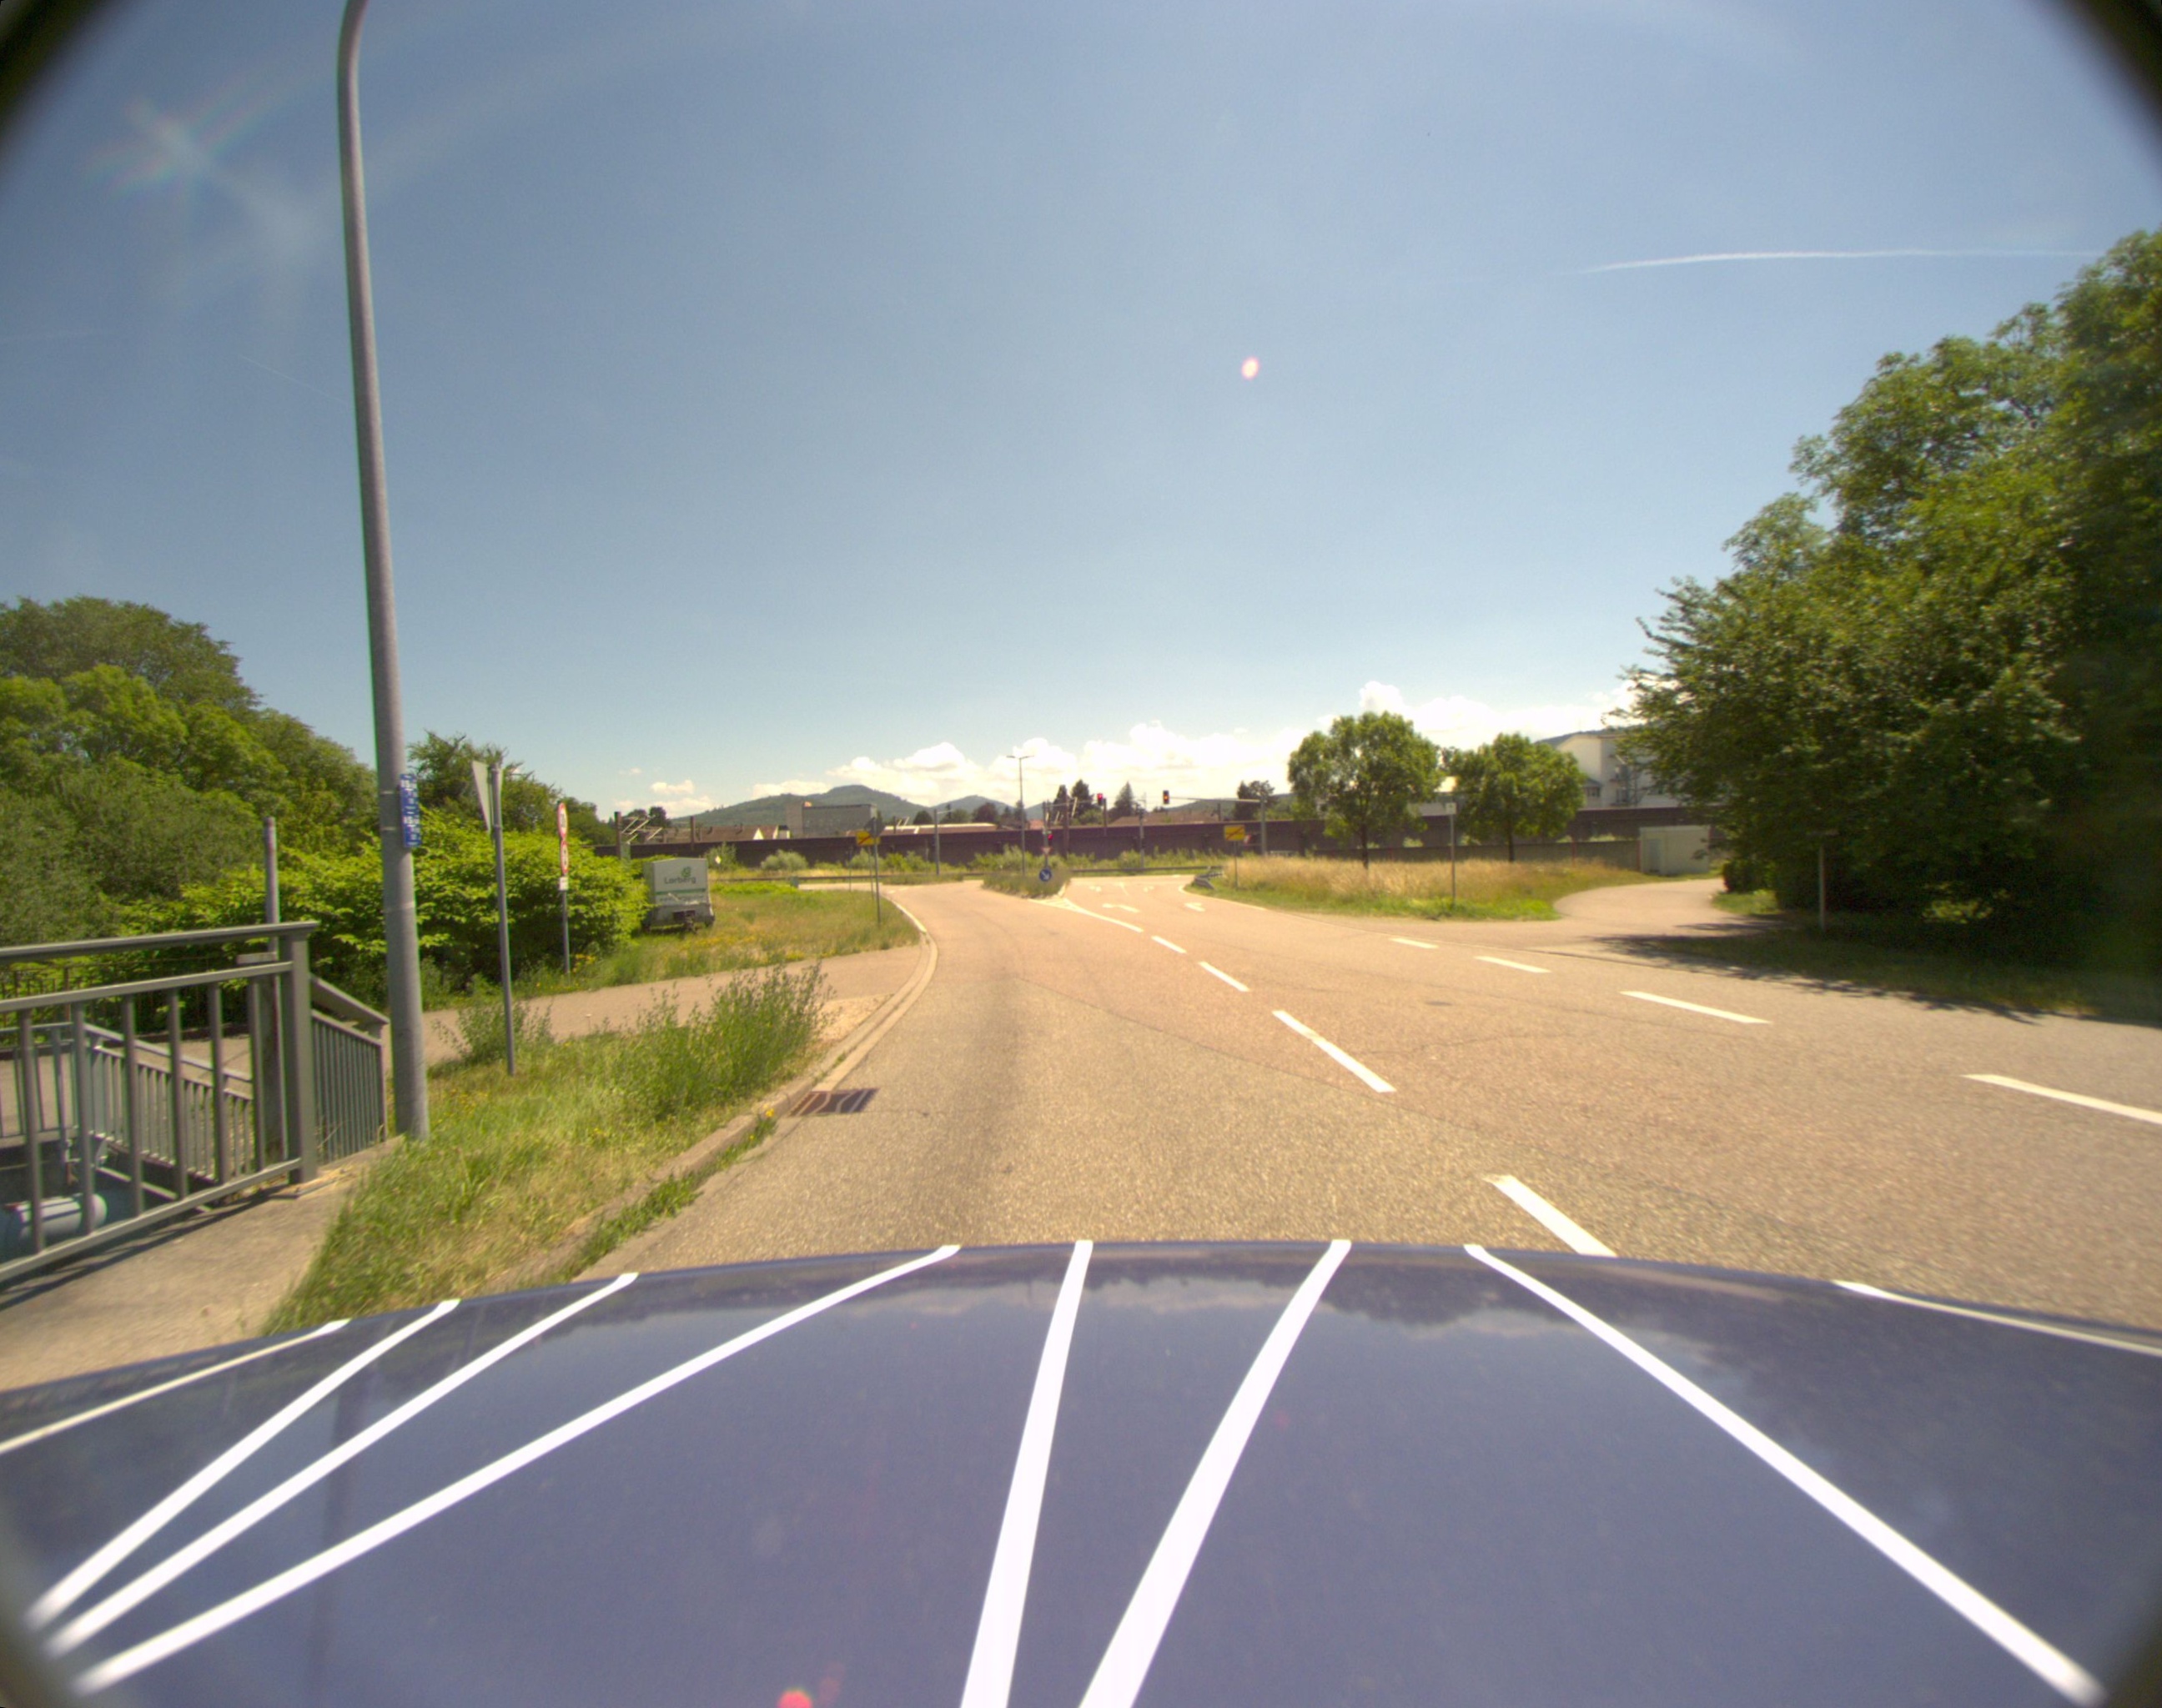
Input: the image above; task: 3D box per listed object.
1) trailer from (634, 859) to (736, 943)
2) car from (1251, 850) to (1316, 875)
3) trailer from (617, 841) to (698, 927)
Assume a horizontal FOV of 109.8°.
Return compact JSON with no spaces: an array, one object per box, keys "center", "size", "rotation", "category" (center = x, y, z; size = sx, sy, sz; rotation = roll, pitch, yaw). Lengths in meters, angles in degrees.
[{"center":[-11.366,1.240,21.681],"size":[1.855,2.066,3.959],"rotation":[-4,1,-37],"category":"trailer"},{"center":[15.436,0.629,58.122],"size":[4.481,1.713,1.999],"rotation":[-1,3,-1],"category":"car"},{"center":[-14.355,0.955,25.670],"size":[1.855,2.655,3.139],"rotation":[-4,1,-37],"category":"trailer"}]
